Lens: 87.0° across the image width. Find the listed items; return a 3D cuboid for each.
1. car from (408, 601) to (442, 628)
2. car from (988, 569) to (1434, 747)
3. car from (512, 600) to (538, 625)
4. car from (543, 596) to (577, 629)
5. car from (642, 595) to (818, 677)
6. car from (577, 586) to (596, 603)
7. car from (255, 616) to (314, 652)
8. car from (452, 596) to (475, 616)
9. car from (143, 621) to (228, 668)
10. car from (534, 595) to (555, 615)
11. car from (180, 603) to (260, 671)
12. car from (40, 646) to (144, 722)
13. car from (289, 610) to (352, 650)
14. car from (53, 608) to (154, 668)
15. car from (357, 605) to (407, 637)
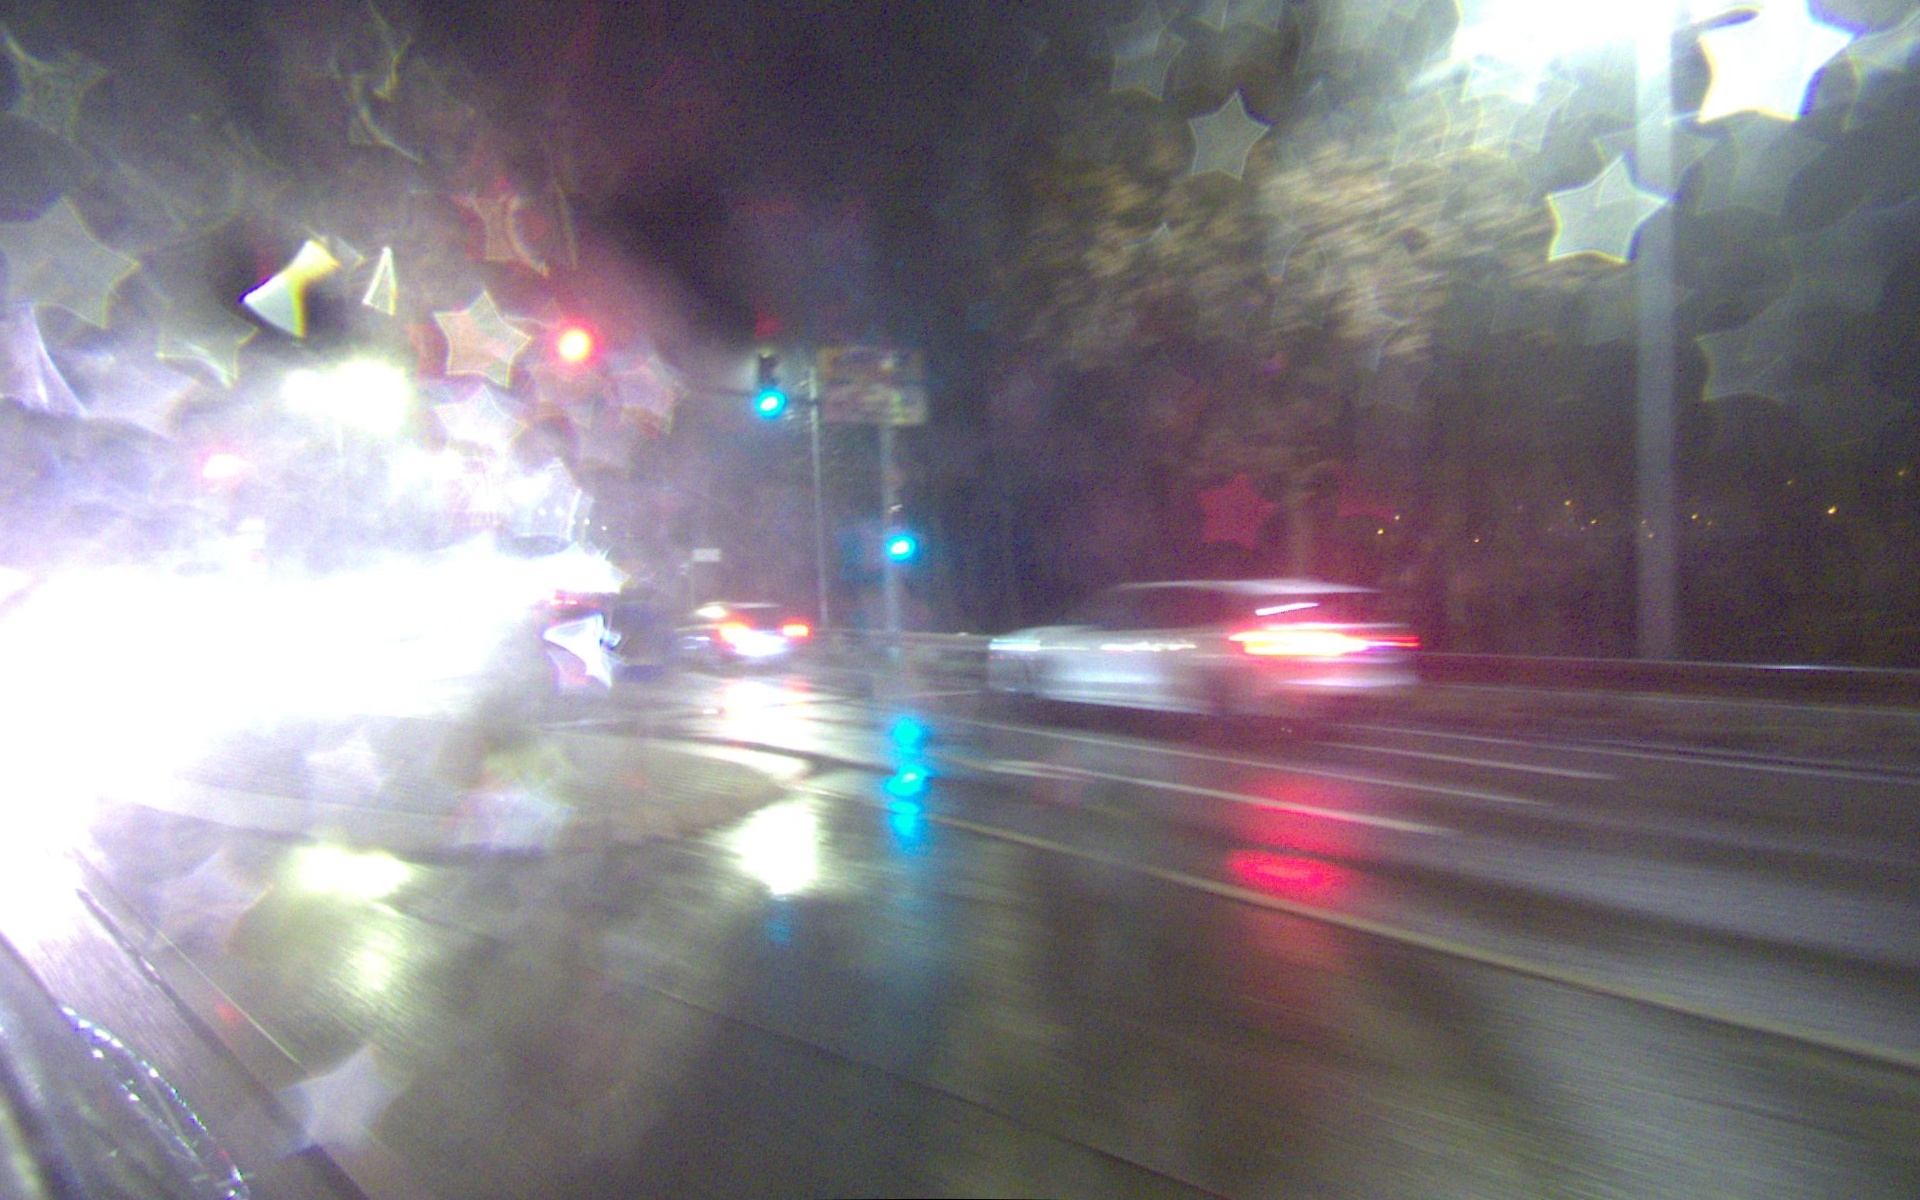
[{"bbox_3d":[-42.052,1.139,79.608,1.838,2.029,4.013,-2,0,-20],"label":"car"},{"bbox_3d":[2.628,0.589,11.760,1.960,1.617,4.843,0,-2,-38],"label":"car"},{"bbox_3d":[-34.520,1.004,80.395,1.714,1.870,4.013,-2,0,-21],"label":"car"},{"bbox_3d":[-25.872,0.815,65.514,1.965,2.029,4.013,-2,0,-21],"label":"car"},{"bbox_3d":[-5.235,0.775,22.514,1.960,1.617,4.843,0,-2,-38],"label":"car"},{"bbox_3d":[-45.832,-0.676,124.345,1.765,2.029,4.011,-1,0,-14],"label":"car"},{"bbox_3d":[-41.078,2.030,61.645,1.966,2.029,4.012,-2,0,-19],"label":"car"},{"bbox_3d":[-53.136,0.671,108.359,1.838,2.029,4.013,-2,0,-20],"label":"car"},{"bbox_3d":[-37.209,2.089,48.721,1.806,2.029,4.011,-2,0,-15],"label":"car"},{"bbox_3d":[-39.321,0.490,95.829,1.714,1.870,4.013,-2,0,-21],"label":"car"},{"bbox_3d":[-29.026,1.393,39.825,1.967,2.027,4.013,-6,7,-30],"label":"car"},{"bbox_3d":[-21.726,2.053,25.422,1.283,1.540,3.056,-2,2,-28],"label":"car"},{"bbox_3d":[-35.328,1.614,56.016,1.966,2.029,4.012,-2,0,-18],"label":"car"},{"bbox_3d":[-31.995,1.378,37.930,1.838,2.029,4.013,-2,0,-25],"label":"car"},{"bbox_3d":[-39.049,1.376,68.502,1.839,2.029,4.010,-2,0,-13],"label":"car"}]
